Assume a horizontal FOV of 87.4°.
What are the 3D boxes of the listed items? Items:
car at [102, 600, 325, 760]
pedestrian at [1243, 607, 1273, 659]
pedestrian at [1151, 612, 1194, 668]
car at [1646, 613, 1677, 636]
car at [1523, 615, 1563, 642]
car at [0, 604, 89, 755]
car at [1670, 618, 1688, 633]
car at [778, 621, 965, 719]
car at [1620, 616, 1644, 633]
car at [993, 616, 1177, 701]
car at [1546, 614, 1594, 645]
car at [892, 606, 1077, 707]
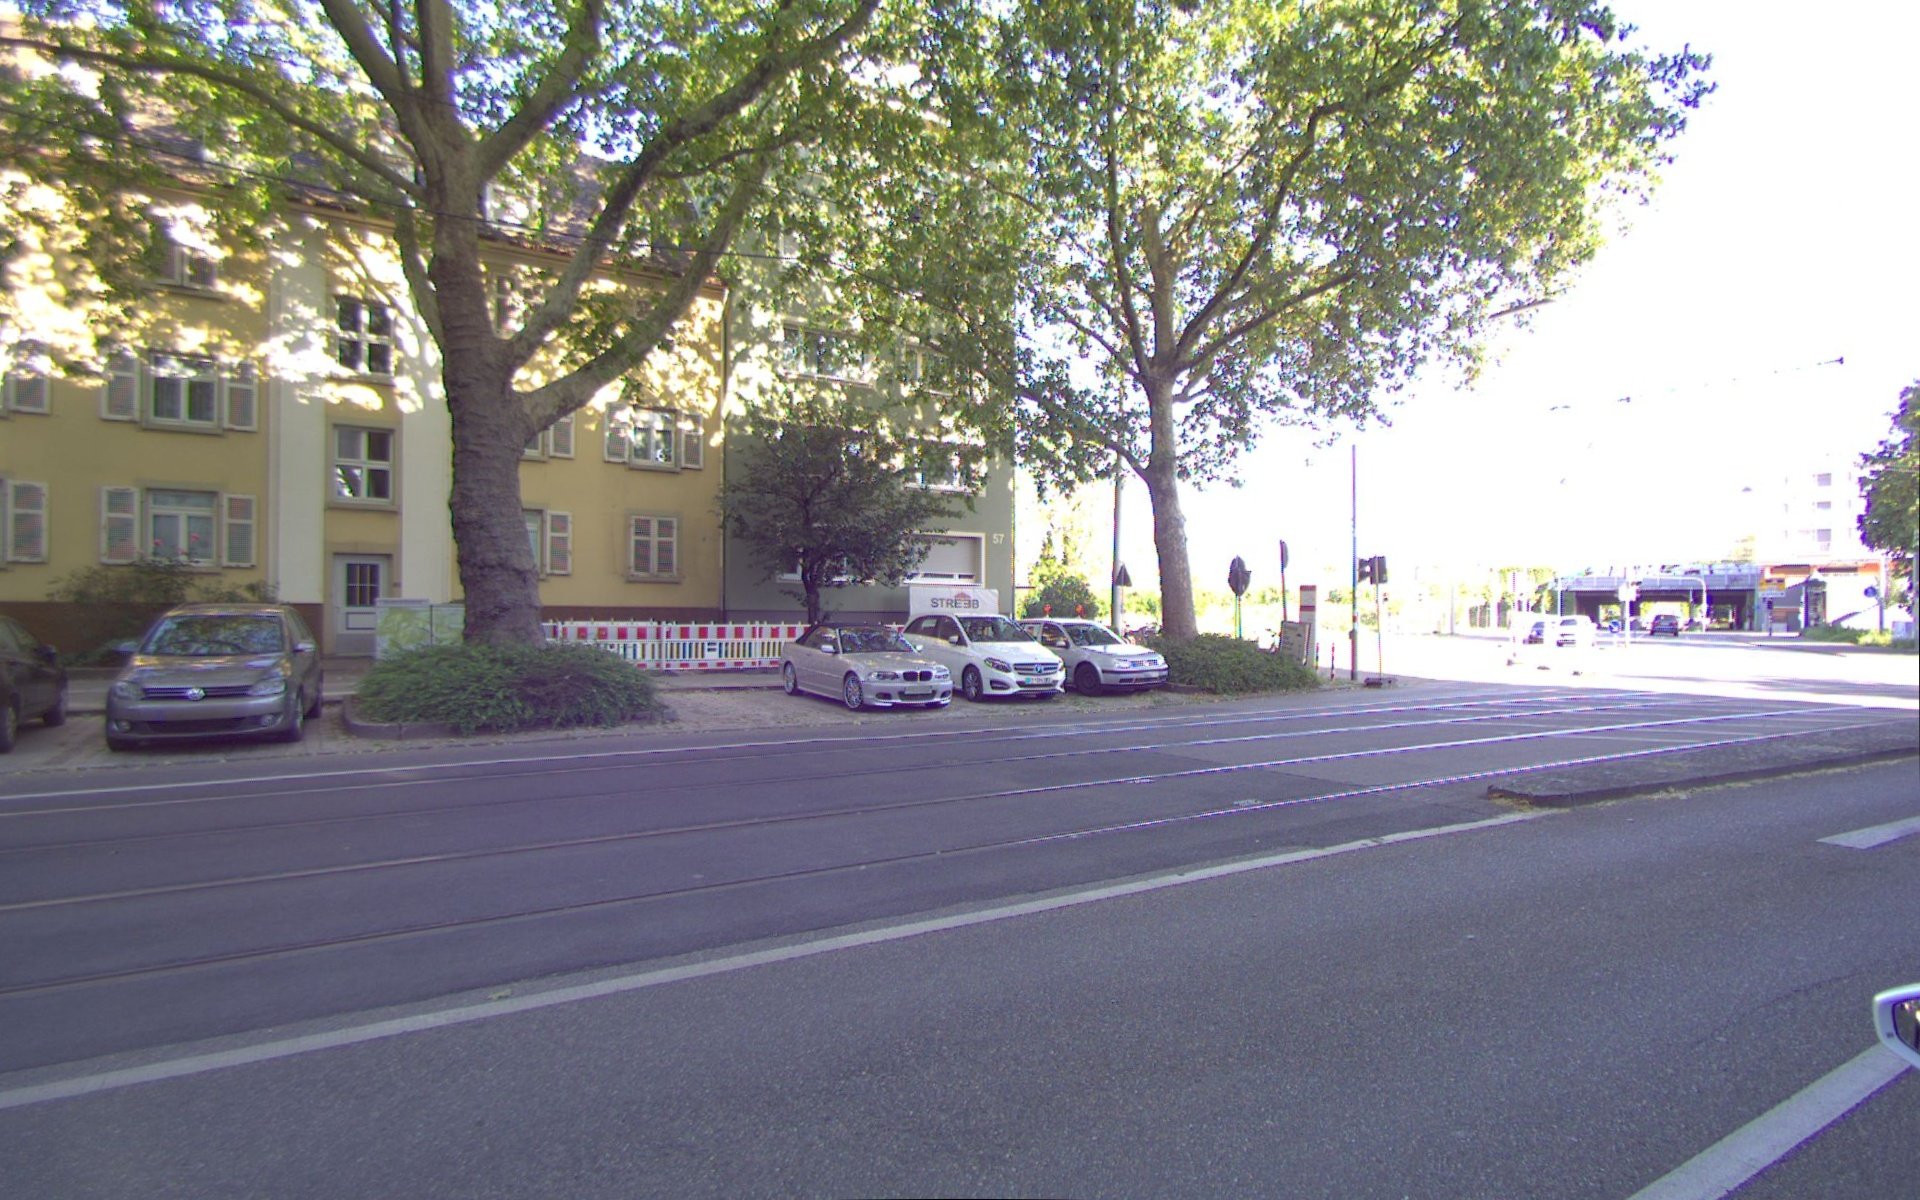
[{"bbox_3d":[-8.998,0.832,12.419,1.652,1.602,3.953,1,0,-29],"label":"car"},{"bbox_3d":[9.901,1.083,33.344,0.760,1.683,0.954,2,0,27],"label":"pedestrian"},{"bbox_3d":[6.461,1.214,30.516,0.919,1.669,0.841,2,0,-30],"label":"pedestrian"},{"bbox_3d":[58.086,2.015,83.129,1.884,1.906,4.827,-1,-1,37],"label":"car"},{"bbox_3d":[38.163,1.825,65.724,1.775,1.684,4.340,0,-1,37],"label":"car"},{"bbox_3d":[-11.464,0.832,11.387,1.652,1.518,3.778,1,0,-29],"label":"car"},{"bbox_3d":[83.512,2.971,116.674,1.731,1.706,3.729,2,0,36],"label":"car"},{"bbox_3d":[-1.648,1.108,17.312,1.651,1.370,3.949,1,0,-31],"label":"car"},{"bbox_3d":[69.940,2.544,104.470,1.860,1.606,3.823,2,0,37],"label":"car"},{"bbox_3d":[2.442,1.108,20.532,1.651,1.473,3.949,1,0,-31],"label":"car"},{"bbox_3d":[33.572,1.626,55.241,1.860,1.606,3.823,2,0,37],"label":"car"},{"bbox_3d":[0.352,0.982,19.157,1.651,1.669,3.949,1,0,-31],"label":"car"}]
